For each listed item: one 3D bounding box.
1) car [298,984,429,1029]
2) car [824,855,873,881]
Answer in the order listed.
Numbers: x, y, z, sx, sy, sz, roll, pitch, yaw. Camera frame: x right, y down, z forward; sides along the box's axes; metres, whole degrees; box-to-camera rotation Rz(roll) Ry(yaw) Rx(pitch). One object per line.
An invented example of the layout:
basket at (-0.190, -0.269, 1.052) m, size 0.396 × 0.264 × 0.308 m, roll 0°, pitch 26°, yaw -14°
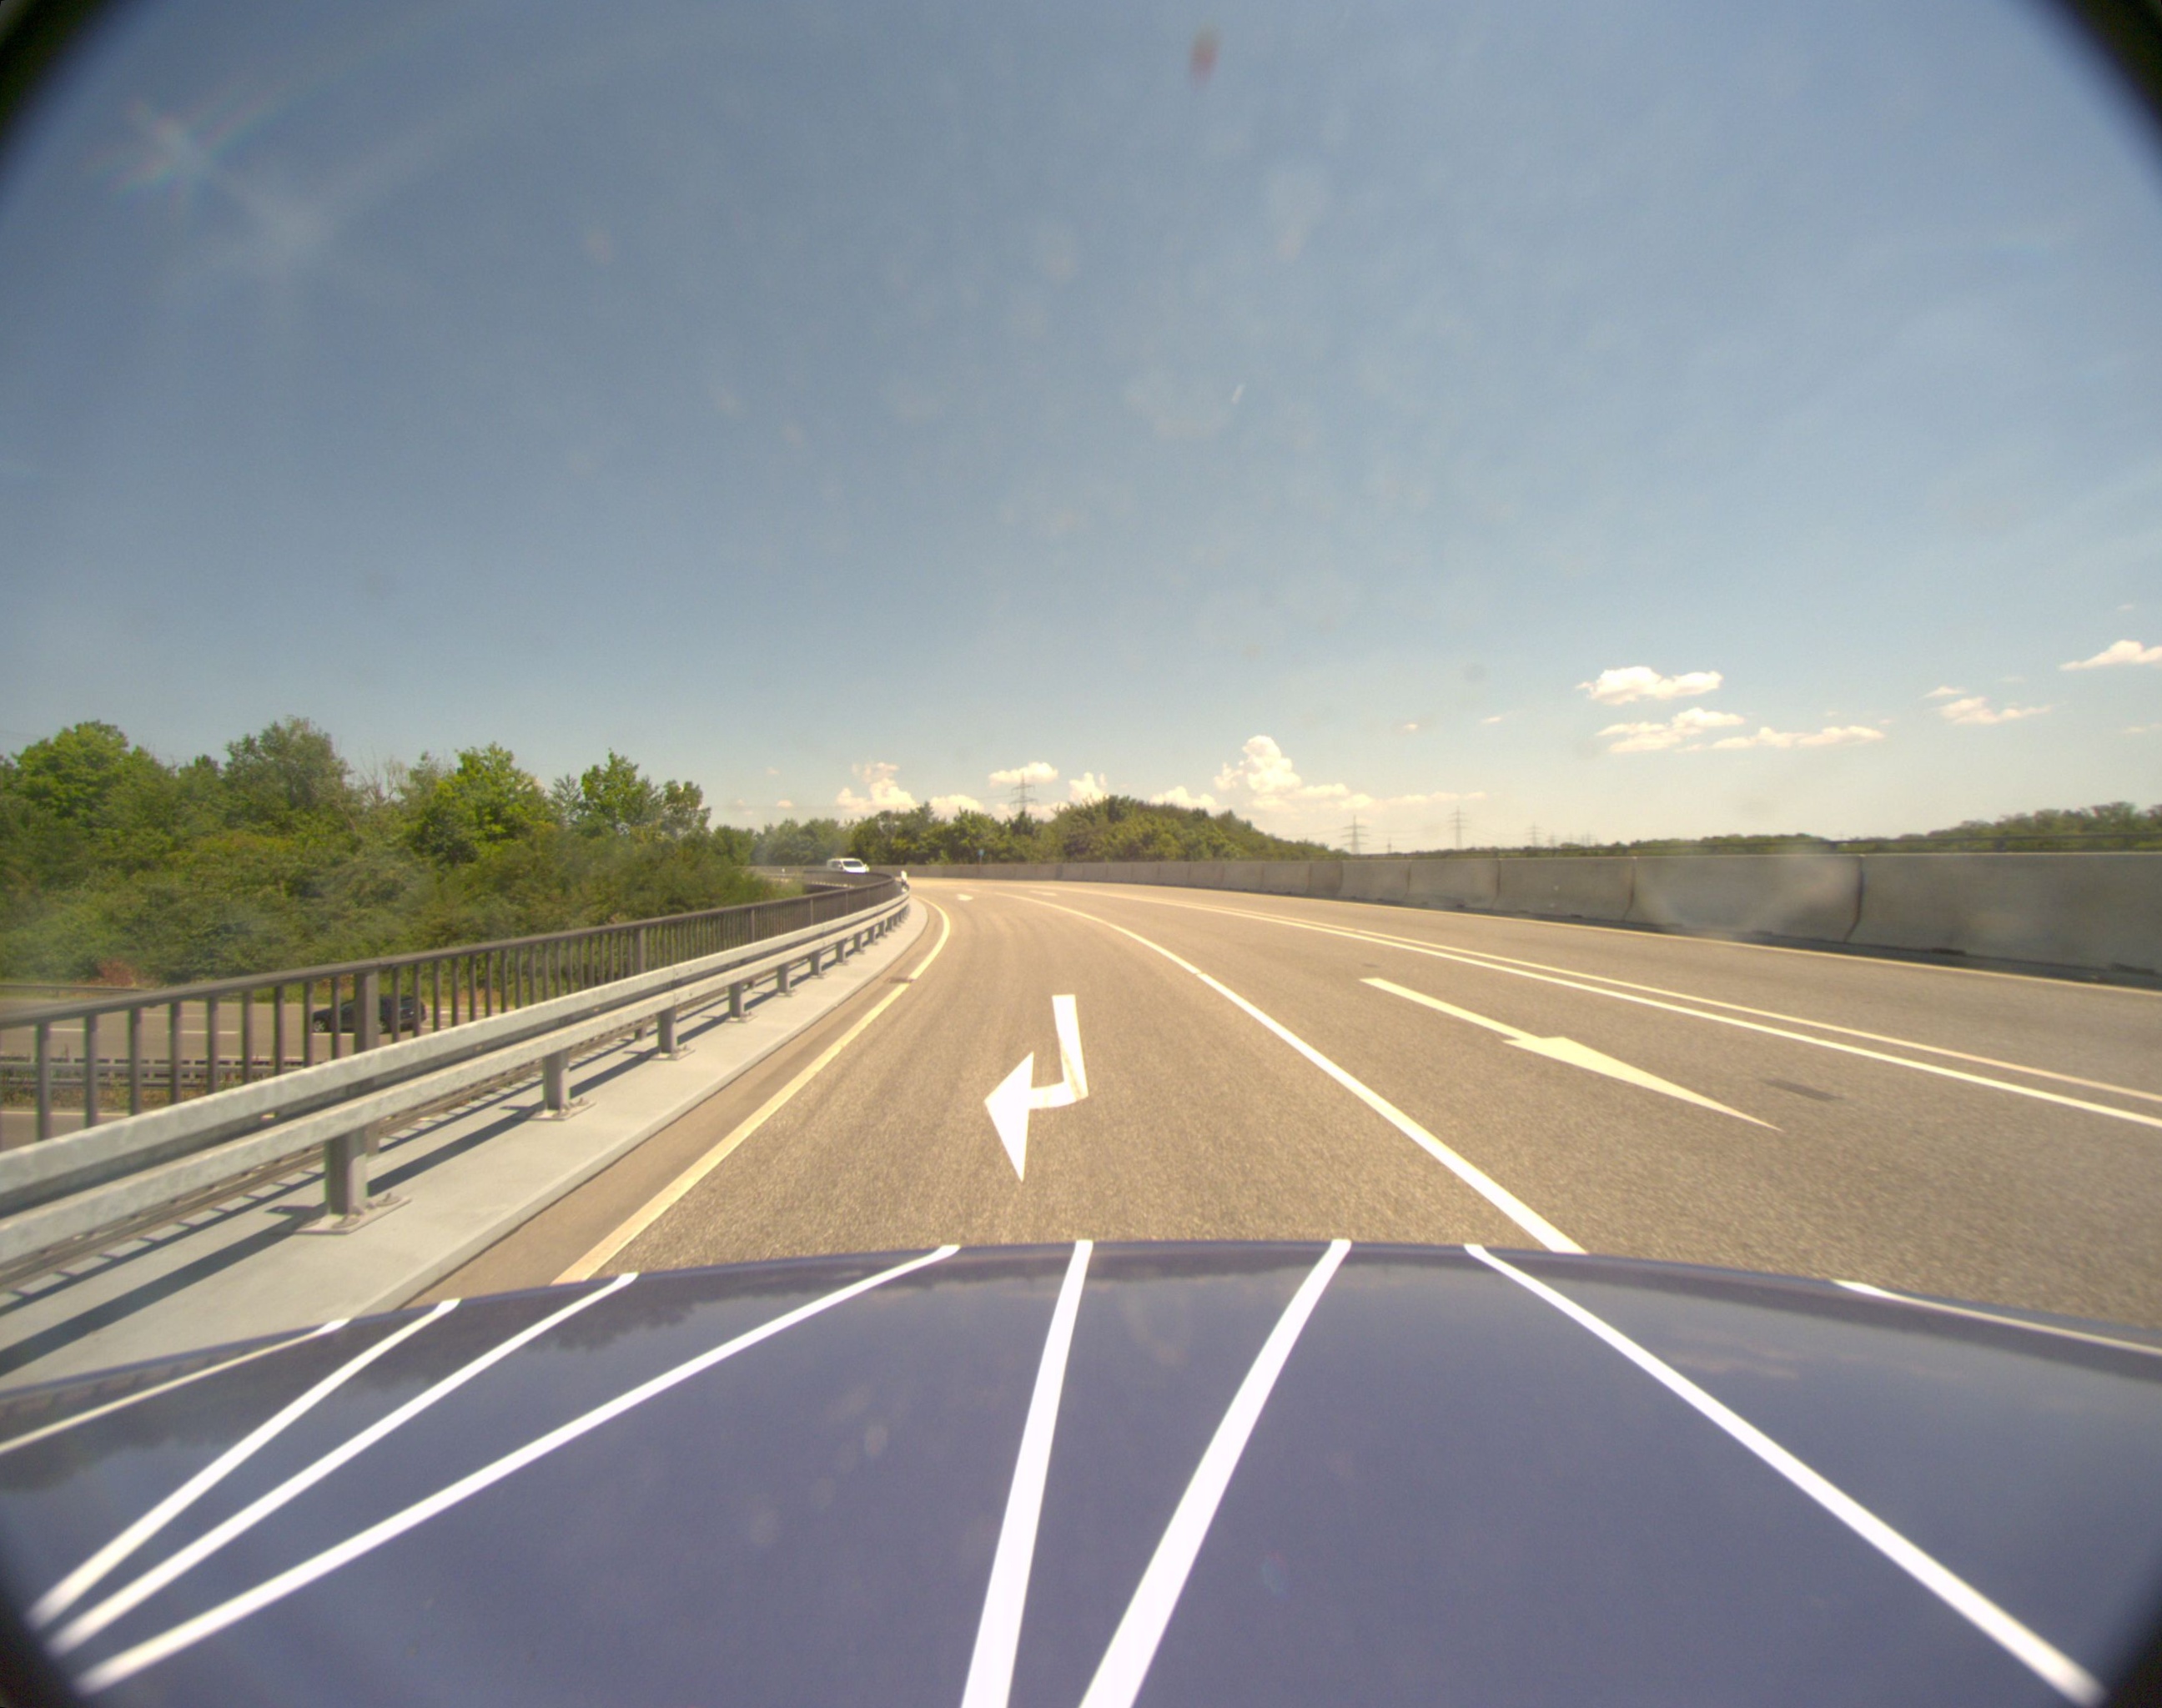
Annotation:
car at (-32.514, 6.882, 34.535) m, size 3.997 × 1.607 × 2.000 m, roll 0°, pitch 1°, yaw 0°
car at (-19.192, 1.102, 62.515) m, size 2.036 × 2.072 × 5.856 m, roll -1°, pitch 1°, yaw -36°
